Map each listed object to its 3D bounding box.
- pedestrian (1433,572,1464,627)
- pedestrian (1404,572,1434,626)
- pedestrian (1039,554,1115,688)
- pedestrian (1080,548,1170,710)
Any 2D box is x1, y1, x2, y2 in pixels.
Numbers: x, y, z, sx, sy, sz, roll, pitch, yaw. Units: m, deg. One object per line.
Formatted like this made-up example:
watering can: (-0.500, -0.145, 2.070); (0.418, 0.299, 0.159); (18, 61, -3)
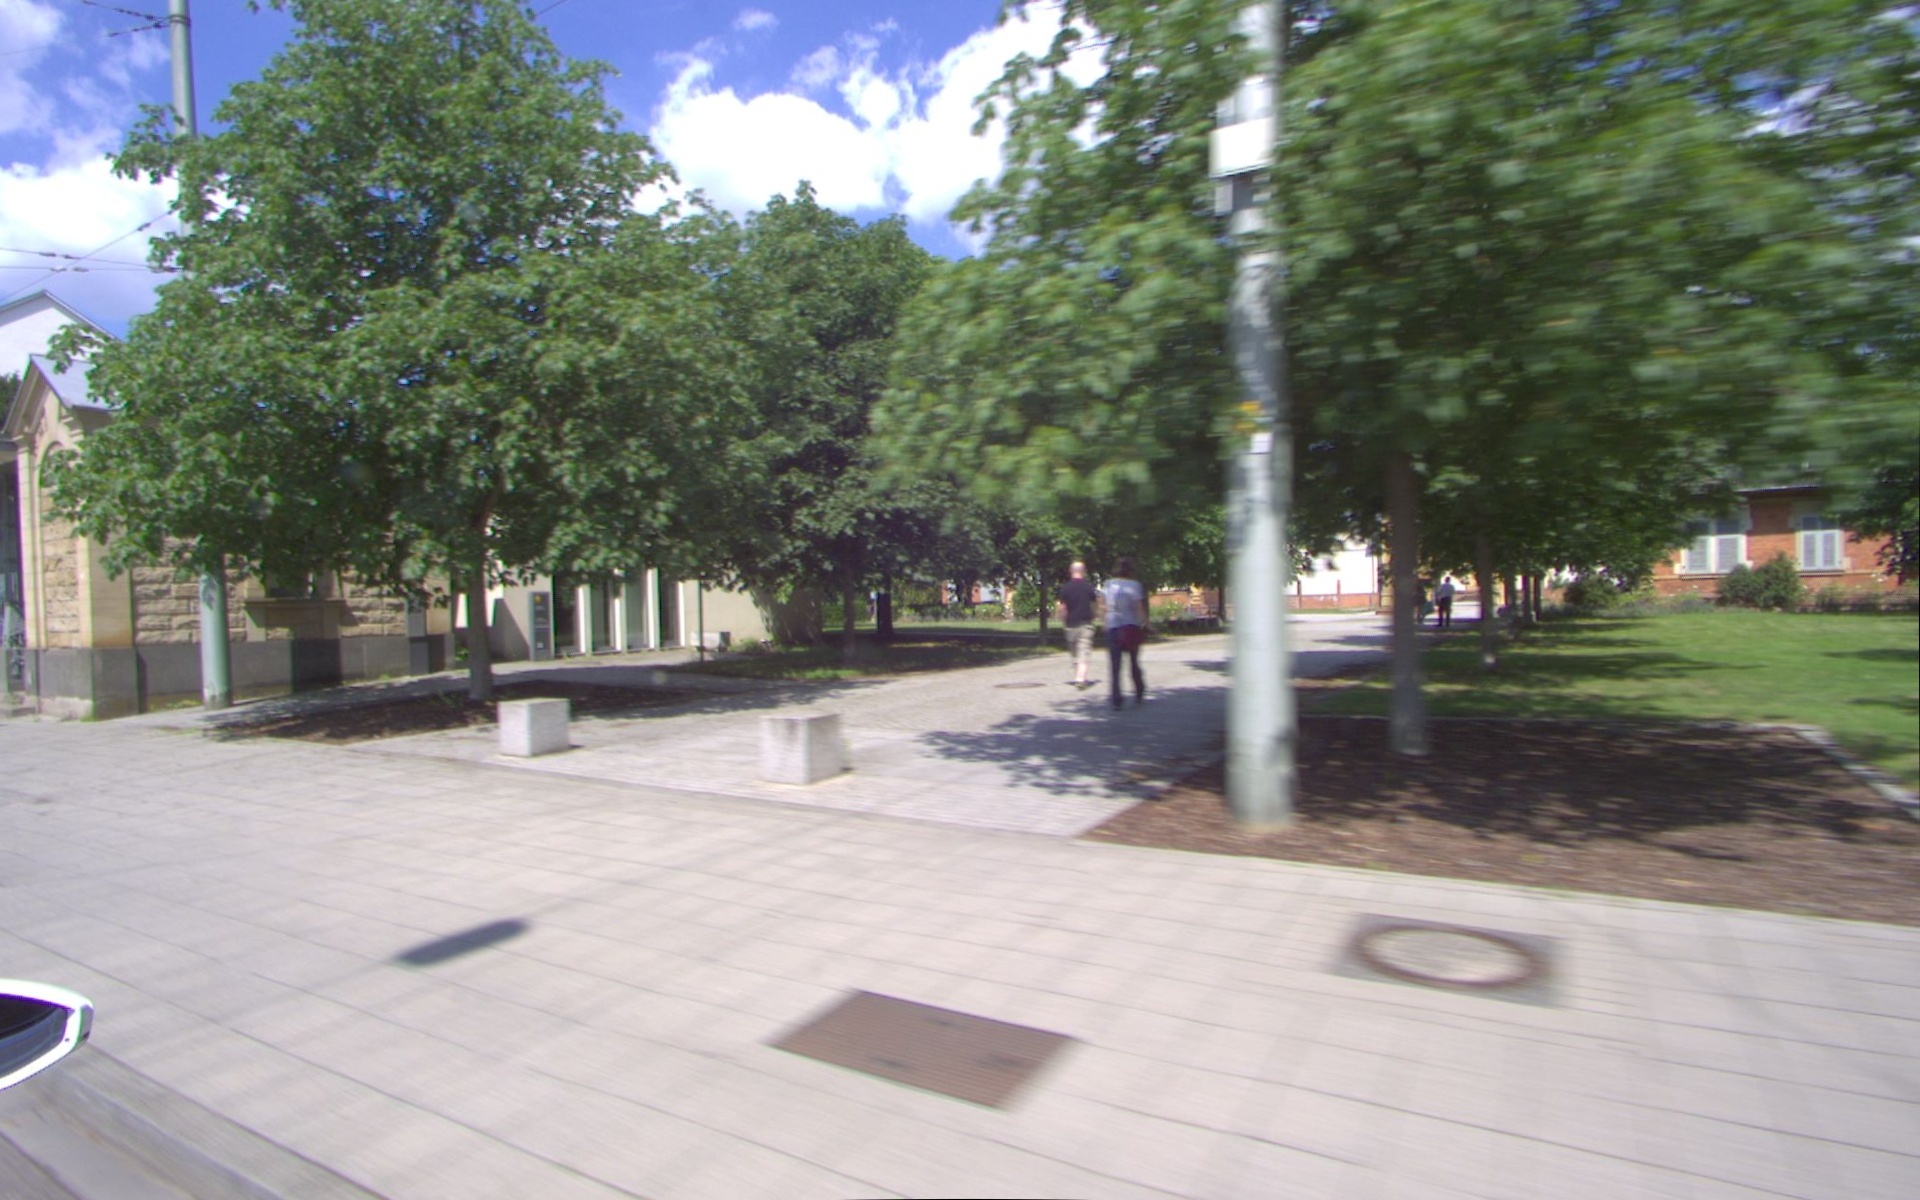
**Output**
pedestrian: (16.360, -0.022, 33.518); (0.799, 1.822, 0.673); (-1, 1, 36)
pedestrian: (15.828, -0.023, 34.535); (0.799, 1.822, 0.673); (-1, 1, 36)
pedestrian: (1.631, 0.289, 13.986); (0.799, 1.804, 0.673); (-1, 1, 36)
pedestrian: (1.946, 0.327, 11.790); (0.799, 1.822, 0.673); (-1, 1, 36)
